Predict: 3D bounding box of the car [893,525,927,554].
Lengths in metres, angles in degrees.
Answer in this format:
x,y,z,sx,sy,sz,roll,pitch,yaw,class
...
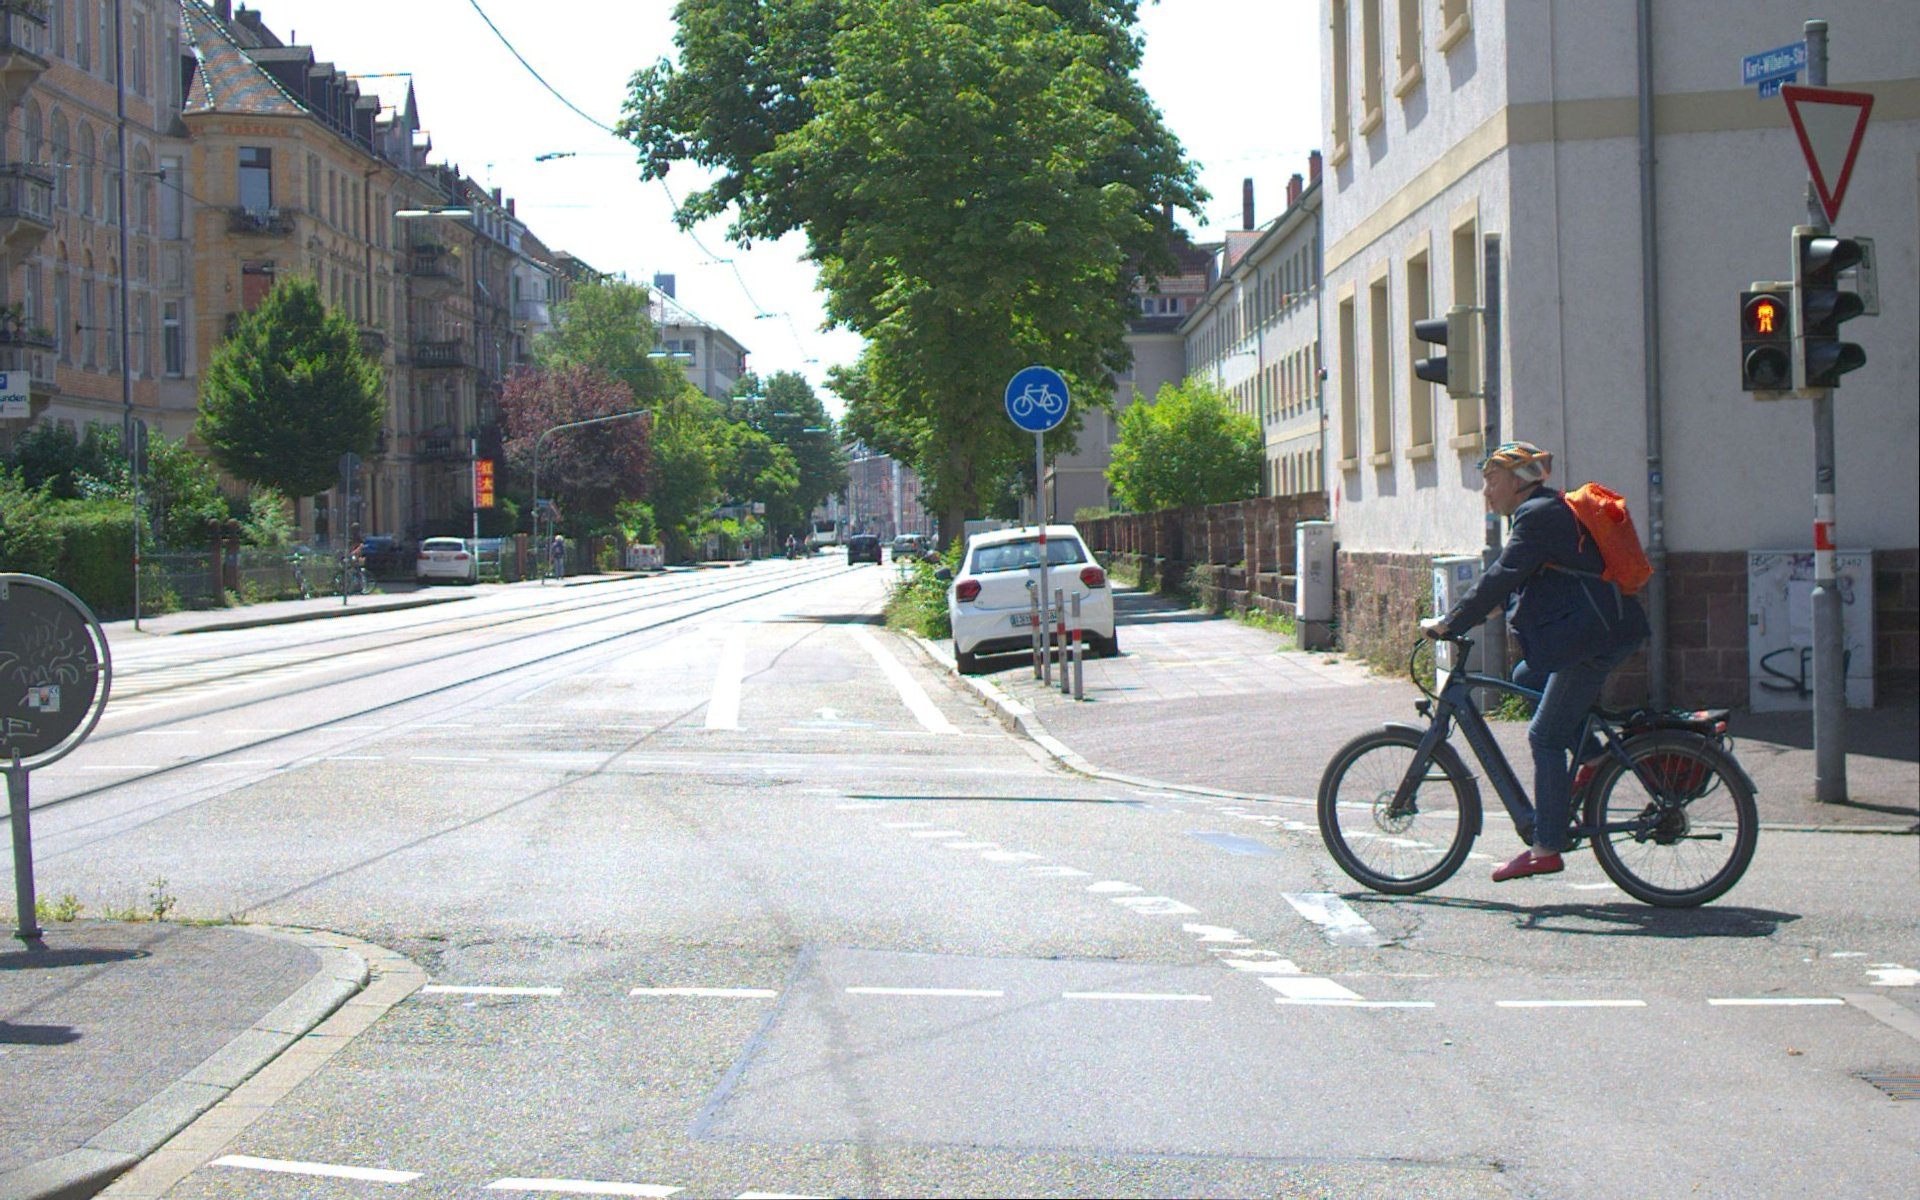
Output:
x,y,z,sx,sy,sz,roll,pitch,yaw,class
-2.745,-3.306,187.824,1.747,1.467,3.938,-4,1,-1,car

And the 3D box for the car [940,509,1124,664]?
x,y,z,sx,sy,sz,roll,pitch,yaw,class
0.729,-0.170,37.193,1.747,1.467,3.938,-4,1,-1,car

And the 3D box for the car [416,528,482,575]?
x,y,z,sx,sy,sz,roll,pitch,yaw,class
-17.176,-1.627,115.637,1.684,1.467,3.939,-4,1,-3,car

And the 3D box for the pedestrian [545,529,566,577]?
x,y,z,sx,sy,sz,roll,pitch,yaw,class
-14.747,-1.720,125.300,0.678,1.721,0.677,0,1,-1,pedestrian

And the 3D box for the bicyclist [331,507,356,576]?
x,y,z,sx,sy,sz,roll,pitch,yaw,class
-15.753,-1.488,87.867,0.542,1.757,0.498,0,1,-1,bicyclist

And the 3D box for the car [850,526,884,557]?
x,y,z,sx,sy,sz,roll,pitch,yaw,class
-4.556,-2.852,168.392,1.525,1.439,3.365,-2,1,0,car

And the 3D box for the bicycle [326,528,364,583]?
x,y,z,sx,sy,sz,roll,pitch,yaw,class
-15.730,-1.150,87.974,0.577,1.383,2.501,0,1,-1,bicycle

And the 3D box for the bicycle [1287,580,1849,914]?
x,y,z,sx,sy,sz,roll,pitch,yaw,class
2.362,0.542,13.427,2.083,1.232,0.580,0,1,25,bicycle

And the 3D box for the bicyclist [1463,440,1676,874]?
x,y,z,sx,sy,sz,roll,pitch,yaw,class
2.380,0.213,13.397,0.694,1.640,0.579,0,1,24,bicyclist

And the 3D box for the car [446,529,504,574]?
x,y,z,sx,sy,sz,roll,pitch,yaw,class
-17.462,-1.741,123.823,1.628,1.467,3.564,-4,1,-3,car
